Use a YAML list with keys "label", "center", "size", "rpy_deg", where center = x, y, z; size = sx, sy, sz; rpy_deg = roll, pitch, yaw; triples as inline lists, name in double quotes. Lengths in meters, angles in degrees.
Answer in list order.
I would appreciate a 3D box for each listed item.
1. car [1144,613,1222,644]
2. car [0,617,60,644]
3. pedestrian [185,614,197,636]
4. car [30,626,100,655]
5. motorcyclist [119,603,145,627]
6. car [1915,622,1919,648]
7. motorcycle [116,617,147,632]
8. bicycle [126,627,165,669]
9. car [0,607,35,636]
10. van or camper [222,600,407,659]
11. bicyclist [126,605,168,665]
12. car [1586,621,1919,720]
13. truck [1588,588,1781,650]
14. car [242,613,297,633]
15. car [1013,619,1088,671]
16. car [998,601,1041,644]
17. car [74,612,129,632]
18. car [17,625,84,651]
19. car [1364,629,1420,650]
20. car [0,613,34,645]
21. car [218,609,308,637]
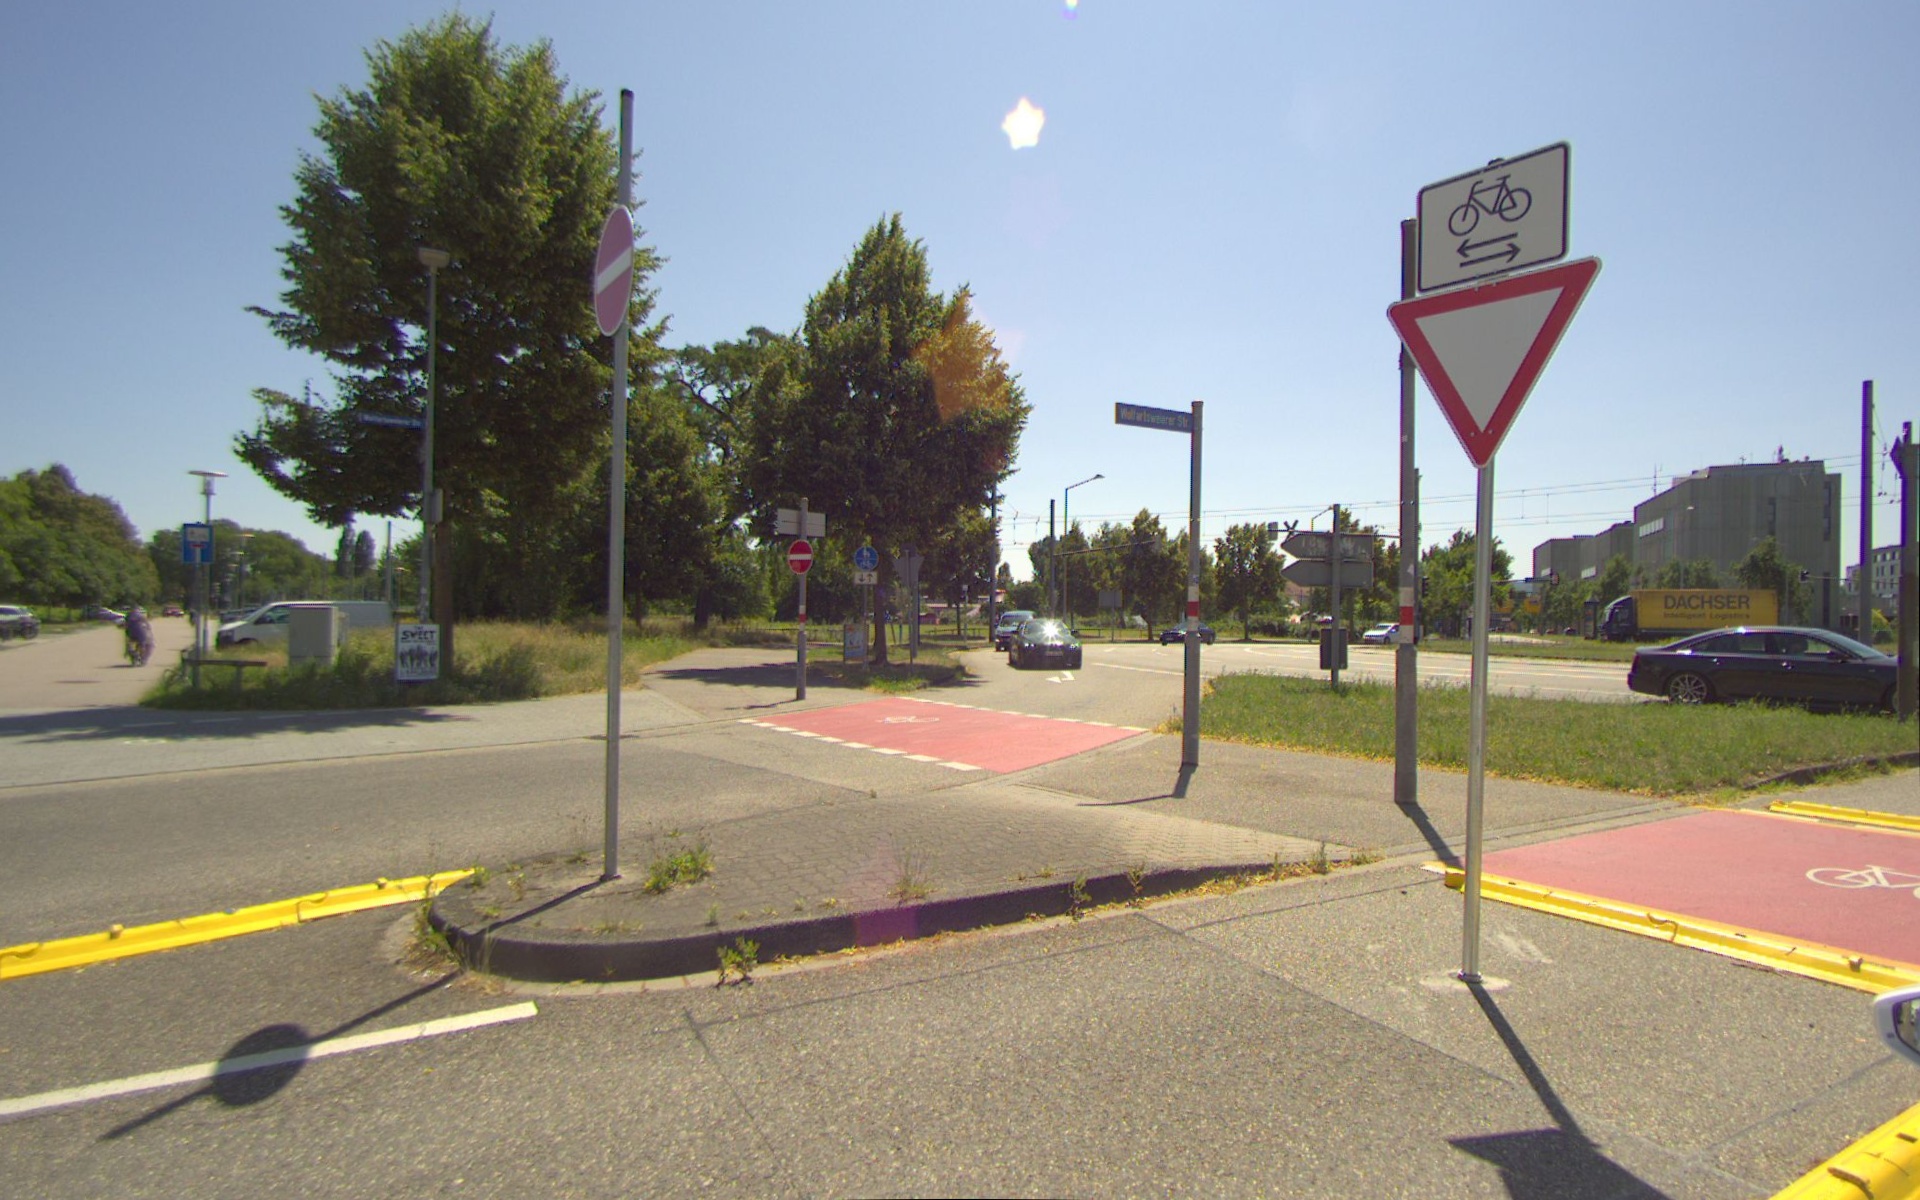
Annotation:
- label: "car"
  center: [13.354, 1.653, 60.020]
  size: [4.909, 1.456, 1.838]
  rpy_deg: [-3, 3, -37]
- label: "car"
  center: [-47.711, 1.549, 51.241]
  size: [2.499, 1.376, 1.075]
  rpy_deg: [1, -1, -30]
- label: "pedestrian"
  center: [-58.391, 1.888, 76.236]
  size: [0.666, 1.686, 1.326]
  rpy_deg: [1, -1, -37]
- label: "car"
  center: [-56.379, 2.525, 63.339]
  size: [3.206, 1.727, 1.492]
  rpy_deg: [1, -1, -40]
- label: "motorcyclist"
  center: [-56.902, 1.037, 69.053]
  size: [1.243, 1.630, 1.426]
  rpy_deg: [1, -1, -35]
- label: "car"
  center: [56.077, 1.989, 55.974]
  size: [3.985, 1.480, 1.723]
  rpy_deg: [0, -1, 38]
- label: "motorcycle"
  center: [-57.164, 1.687, 69.346]
  size: [1.358, 0.934, 3.193]
  rpy_deg: [1, -1, -35]
- label: "bicycle"
  center: [-23.406, 1.361, 28.893]
  size: [0.544, 1.127, 1.664]
  rpy_deg: [3, -2, -30]
- label: "car"
  center: [-45.315, 0.998, 47.195]
  size: [2.499, 1.376, 1.075]
  rpy_deg: [1, -1, -30]
- label: "van or camper"
  center: [-22.201, 1.007, 34.679]
  size: [5.225, 1.882, 1.979]
  rpy_deg: [2, -1, -38]
- label: "bicyclist"
  center: [-23.369, 0.997, 28.896]
  size: [0.707, 1.659, 0.967]
  rpy_deg: [3, -2, -30]
- label: "car"
  center: [13.942, 1.135, 17.710]
  size: [1.985, 1.468, 4.593]
  rpy_deg: [1, -1, -41]
- label: "truck"
  center: [45.309, 1.134, 63.167]
  size: [9.428, 3.707, 2.707]
  rpy_deg: [0, -1, 21]
- label: "car"
  center: [-53.712, 1.789, 78.185]
  size: [3.505, 1.483, 1.534]
  rpy_deg: [1, -1, -35]
- label: "car"
  center: [2.685, 1.317, 30.759]
  size: [1.689, 1.430, 4.617]
  rpy_deg: [1, -1, -3]
- label: "car"
  center: [2.758, 1.029, 45.756]
  size: [1.655, 1.792, 4.207]
  rpy_deg: [-3, -1, 6]
- label: "car"
  center: [-88.636, 2.287, 103.738]
  size: [3.953, 2.040, 1.984]
  rpy_deg: [1, -1, -30]
- label: "car"
  center: [-49.592, 2.076, 54.821]
  size: [2.499, 1.376, 1.075]
  rpy_deg: [1, -1, -30]
- label: "car"
  center: [31.766, 2.900, 73.763]
  size: [4.984, 1.473, 1.805]
  rpy_deg: [2, -1, -41]
- label: "car"
  center: [-41.760, 1.237, 43.132]
  size: [2.716, 1.375, 1.163]
  rpy_deg: [1, -1, -30]
- label: "car"
  center: [-33.114, 1.108, 47.806]
  size: [3.342, 1.298, 1.346]
  rpy_deg: [1, -1, -30]
